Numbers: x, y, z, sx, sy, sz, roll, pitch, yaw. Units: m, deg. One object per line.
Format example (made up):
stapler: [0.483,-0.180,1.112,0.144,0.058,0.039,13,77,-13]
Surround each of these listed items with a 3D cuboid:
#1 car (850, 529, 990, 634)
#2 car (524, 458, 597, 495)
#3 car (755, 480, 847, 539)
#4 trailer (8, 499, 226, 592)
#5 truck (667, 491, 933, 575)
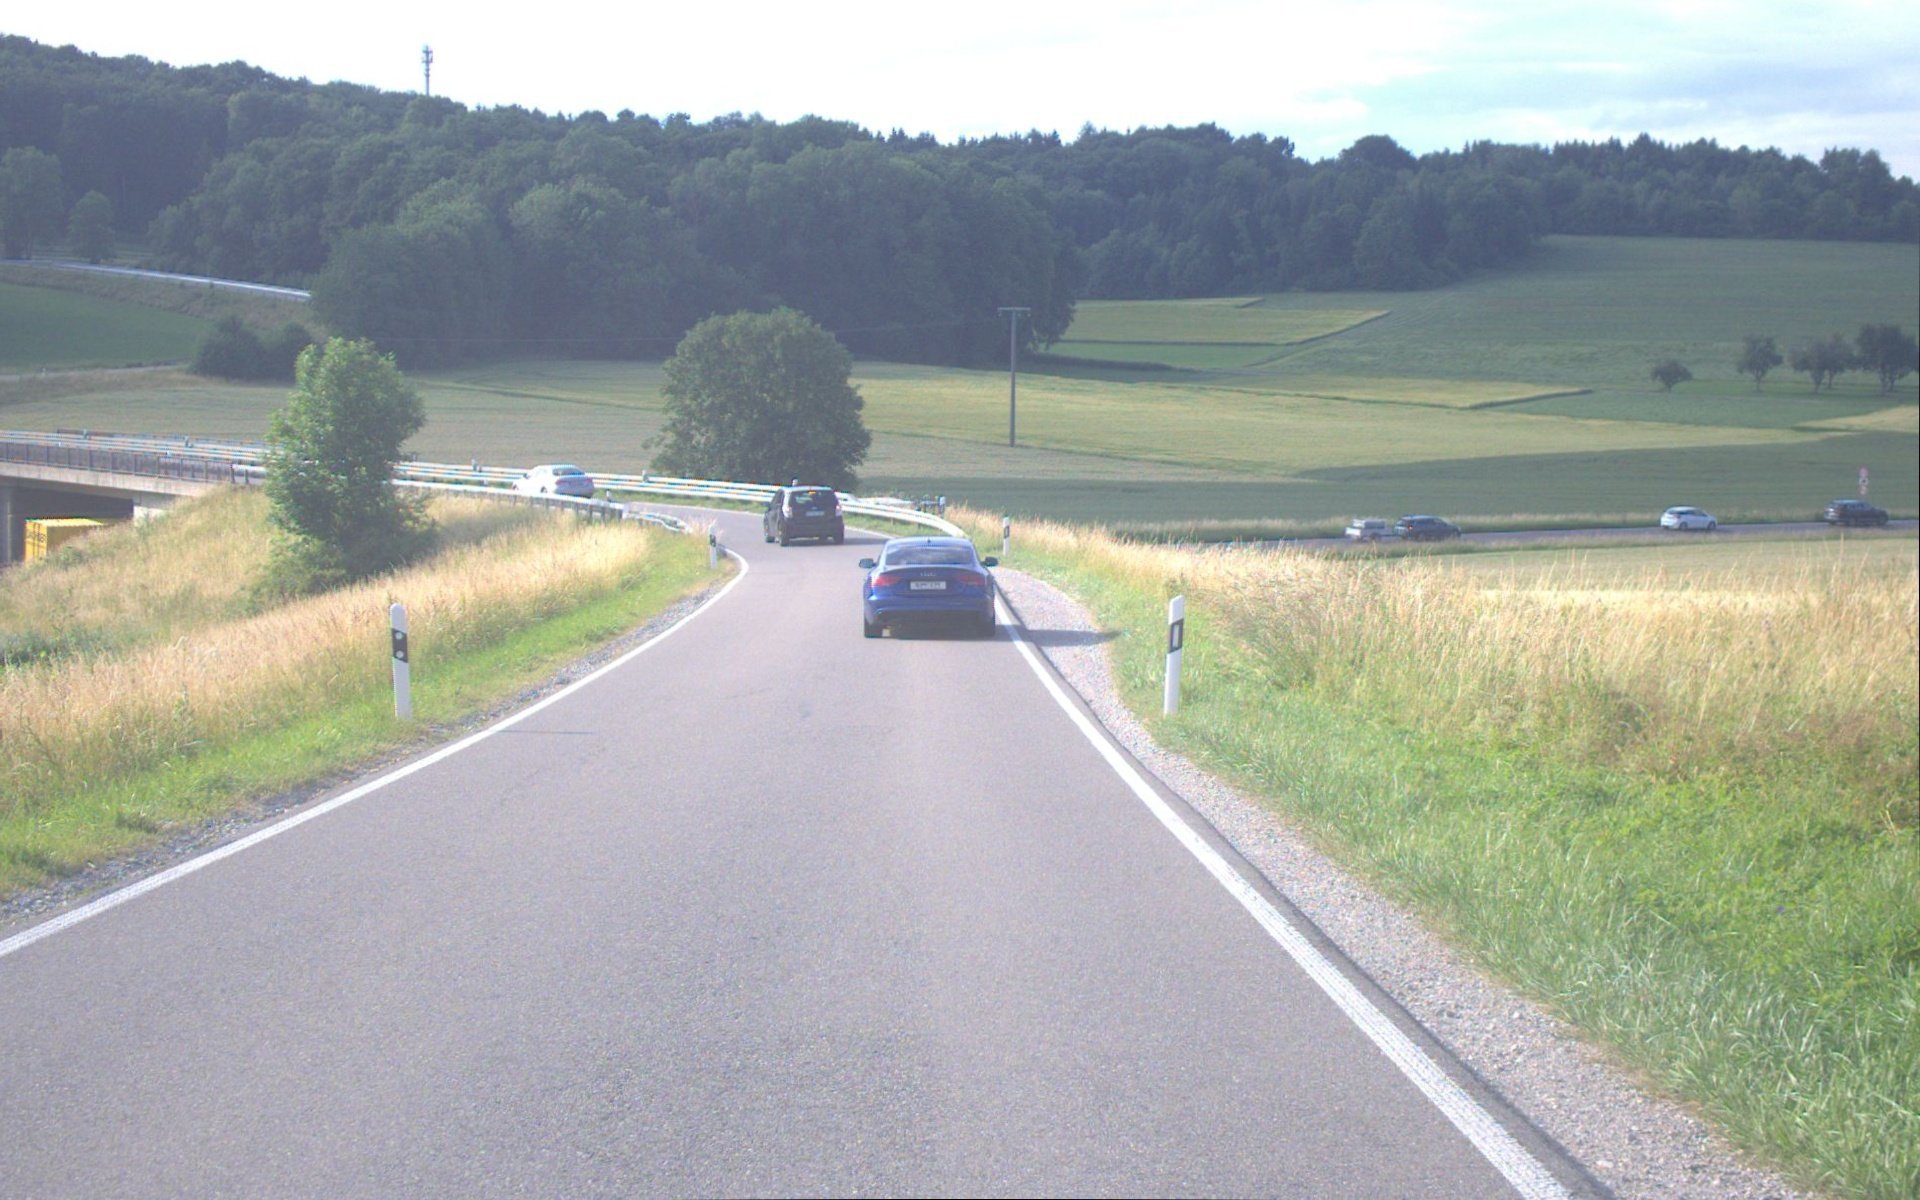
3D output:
car: [-0.558,-0.284,48.421,1.818,1.334,4.350,-3,1,-1]
car: [-15.127,-4.689,130.054,1.682,1.371,4.001,-1,3,-22]
car: [-4.491,-2.548,96.542,1.861,1.563,4.002,-2,2,-13]
trailer: [-39.419,-2.618,160.915,9.103,4.046,3.836,-3,3,-41]
truck: [-8.402,-3.590,182.677,14.382,3.982,4.078,-3,2,-39]
